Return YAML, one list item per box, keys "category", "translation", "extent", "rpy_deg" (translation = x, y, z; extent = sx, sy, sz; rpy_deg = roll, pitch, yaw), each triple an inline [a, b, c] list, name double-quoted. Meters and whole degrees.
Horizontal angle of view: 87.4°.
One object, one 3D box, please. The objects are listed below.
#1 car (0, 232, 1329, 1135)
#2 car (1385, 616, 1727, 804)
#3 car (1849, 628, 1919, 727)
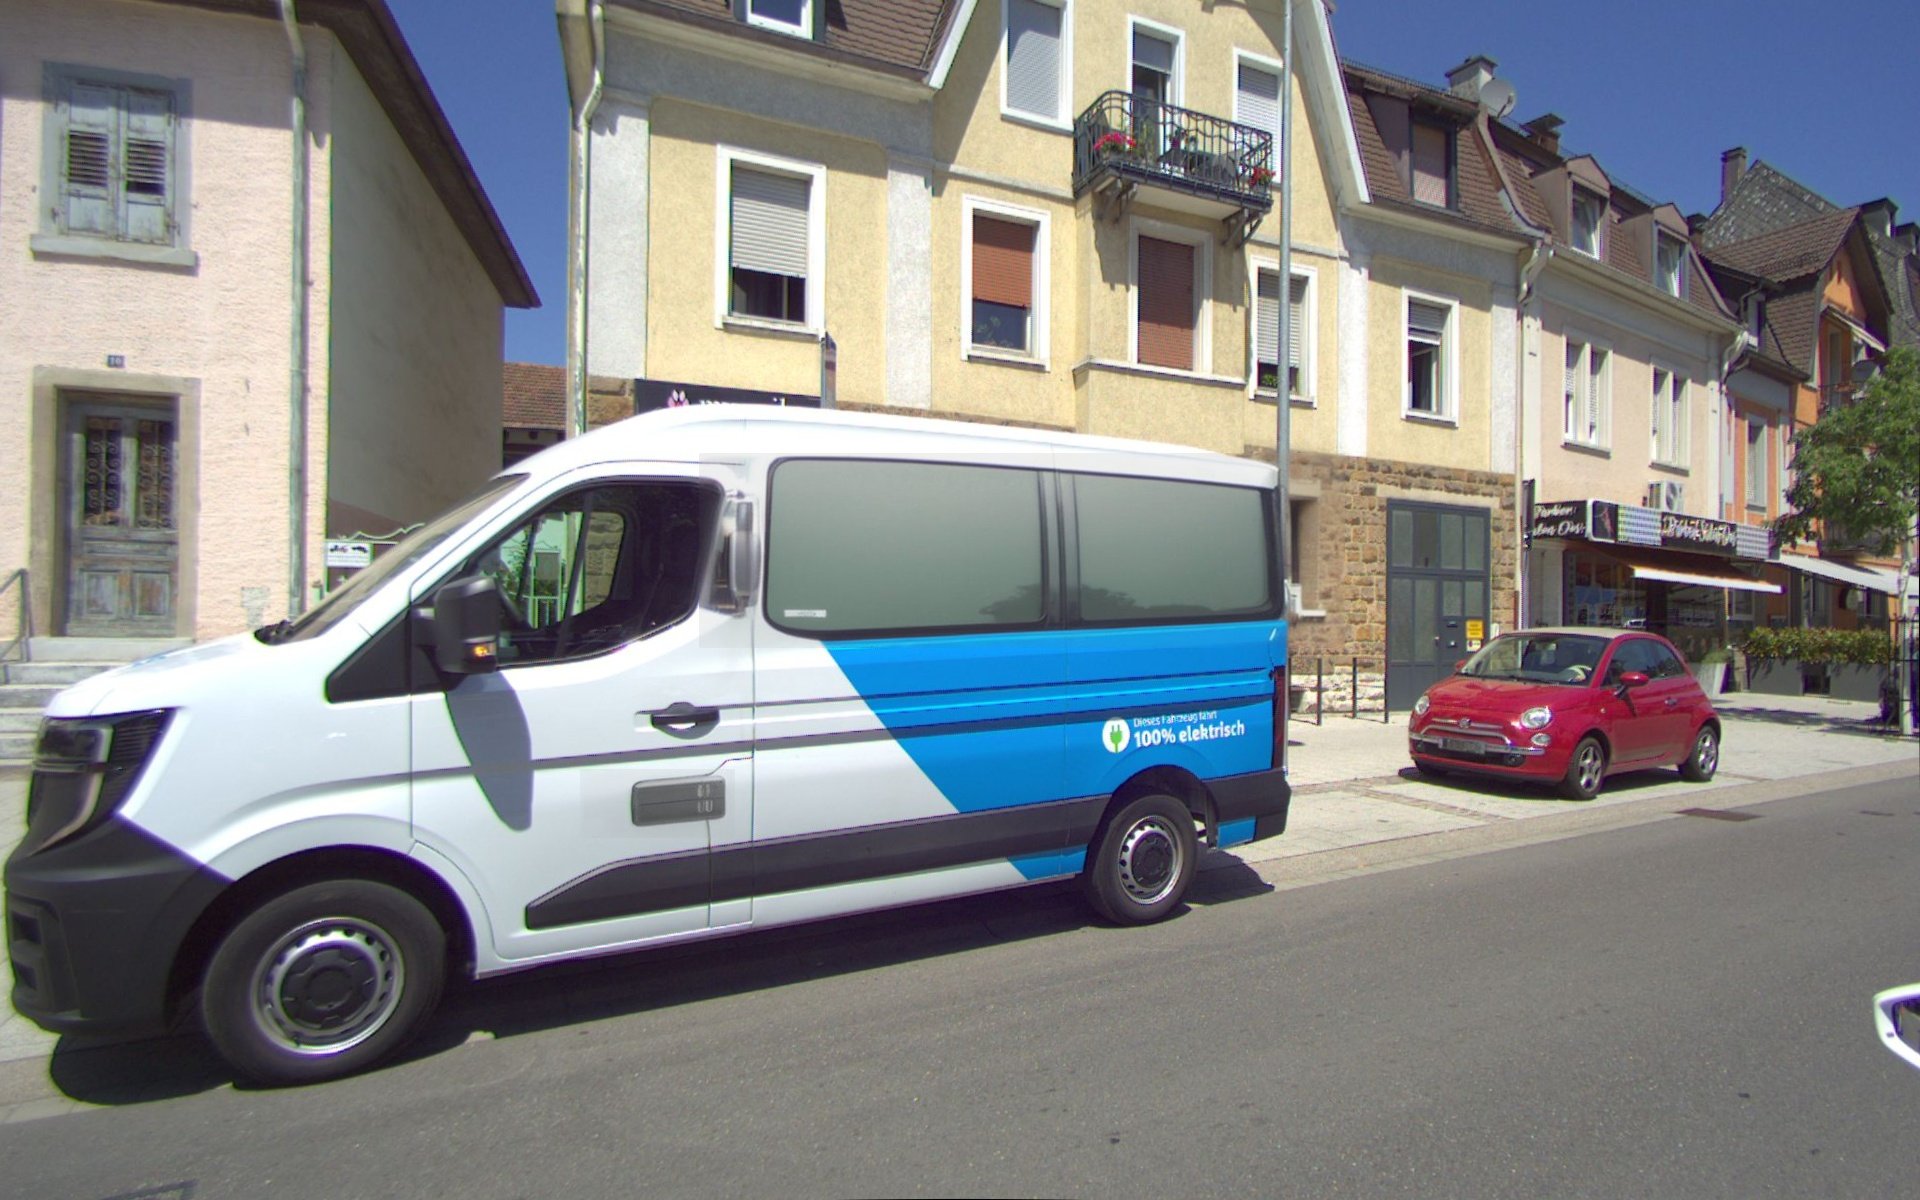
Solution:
- category: "car"
  translation: [-0.853, 0.285, 5.086]
  extent: [5.438, 2.531, 2.082]
  rpy_deg: [1, 0, -30]
- category: "car"
  translation: [5.998, 0.993, 10.013]
  extent: [3.478, 1.541, 1.550]
  rpy_deg: [2, -1, -33]
- category: "car"
  translation: [16.869, 1.276, 16.799]
  extent: [4.291, 1.501, 1.904]
  rpy_deg: [1, 1, -33]
